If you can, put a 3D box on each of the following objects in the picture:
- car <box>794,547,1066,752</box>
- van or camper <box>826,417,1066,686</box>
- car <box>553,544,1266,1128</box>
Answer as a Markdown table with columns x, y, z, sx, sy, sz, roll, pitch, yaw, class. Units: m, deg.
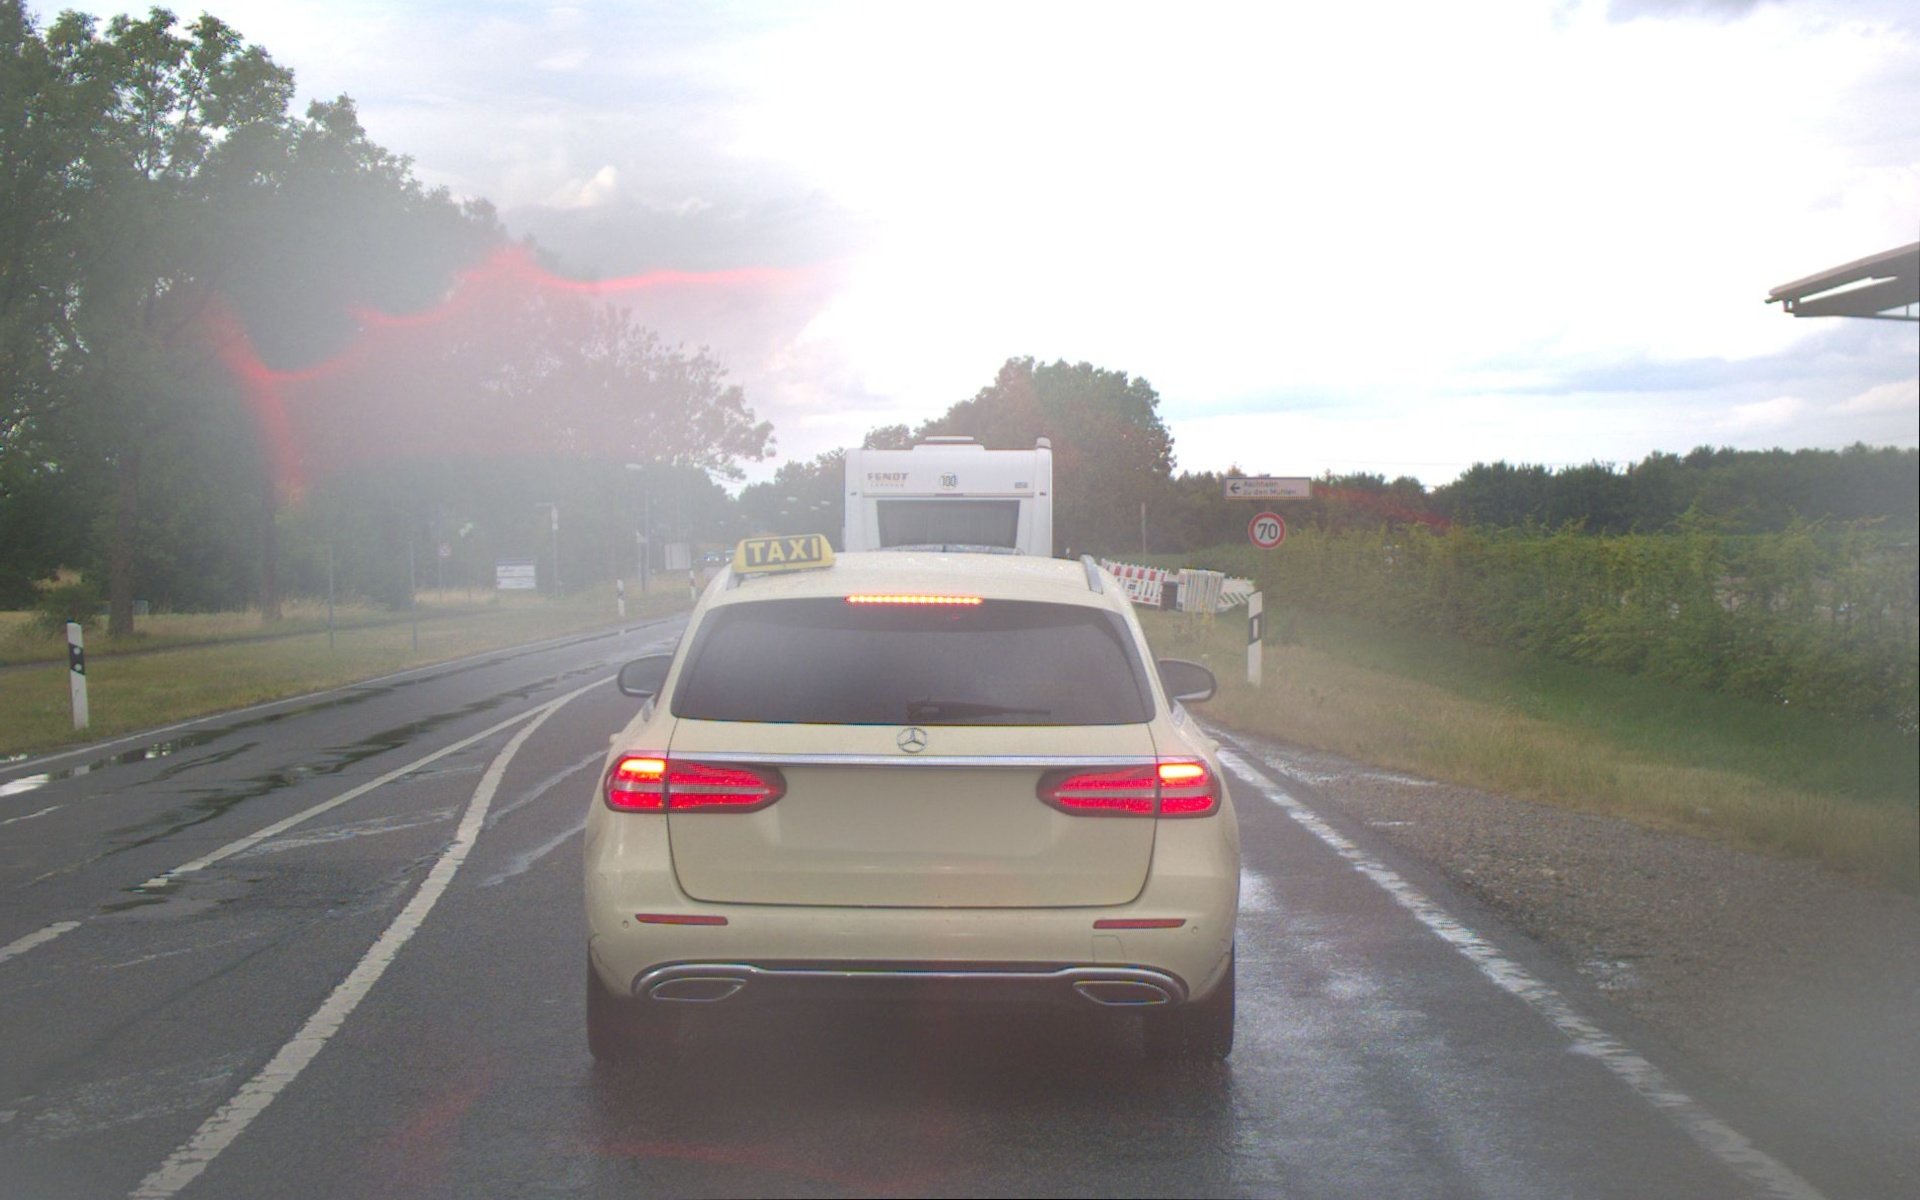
| x | y | z | sx | sy | sz | roll | pitch | yaw | class |
| --- | --- | --- | --- | --- | --- | --- | --- | --- | --- |
| -0.229 | 0.317 | 26.005 | 1.894 | 1.424 | 3.928 | 0 | 1 | -1 | car |
| -0.117 | -0.567 | 39.977 | 2.497 | 2.821 | 5.934 | -2 | 1 | 1 | van or camper |
| -0.123 | 0.565 | 10.716 | 1.797 | 1.459 | 4.031 | 0 | 1 | 0 | car |
